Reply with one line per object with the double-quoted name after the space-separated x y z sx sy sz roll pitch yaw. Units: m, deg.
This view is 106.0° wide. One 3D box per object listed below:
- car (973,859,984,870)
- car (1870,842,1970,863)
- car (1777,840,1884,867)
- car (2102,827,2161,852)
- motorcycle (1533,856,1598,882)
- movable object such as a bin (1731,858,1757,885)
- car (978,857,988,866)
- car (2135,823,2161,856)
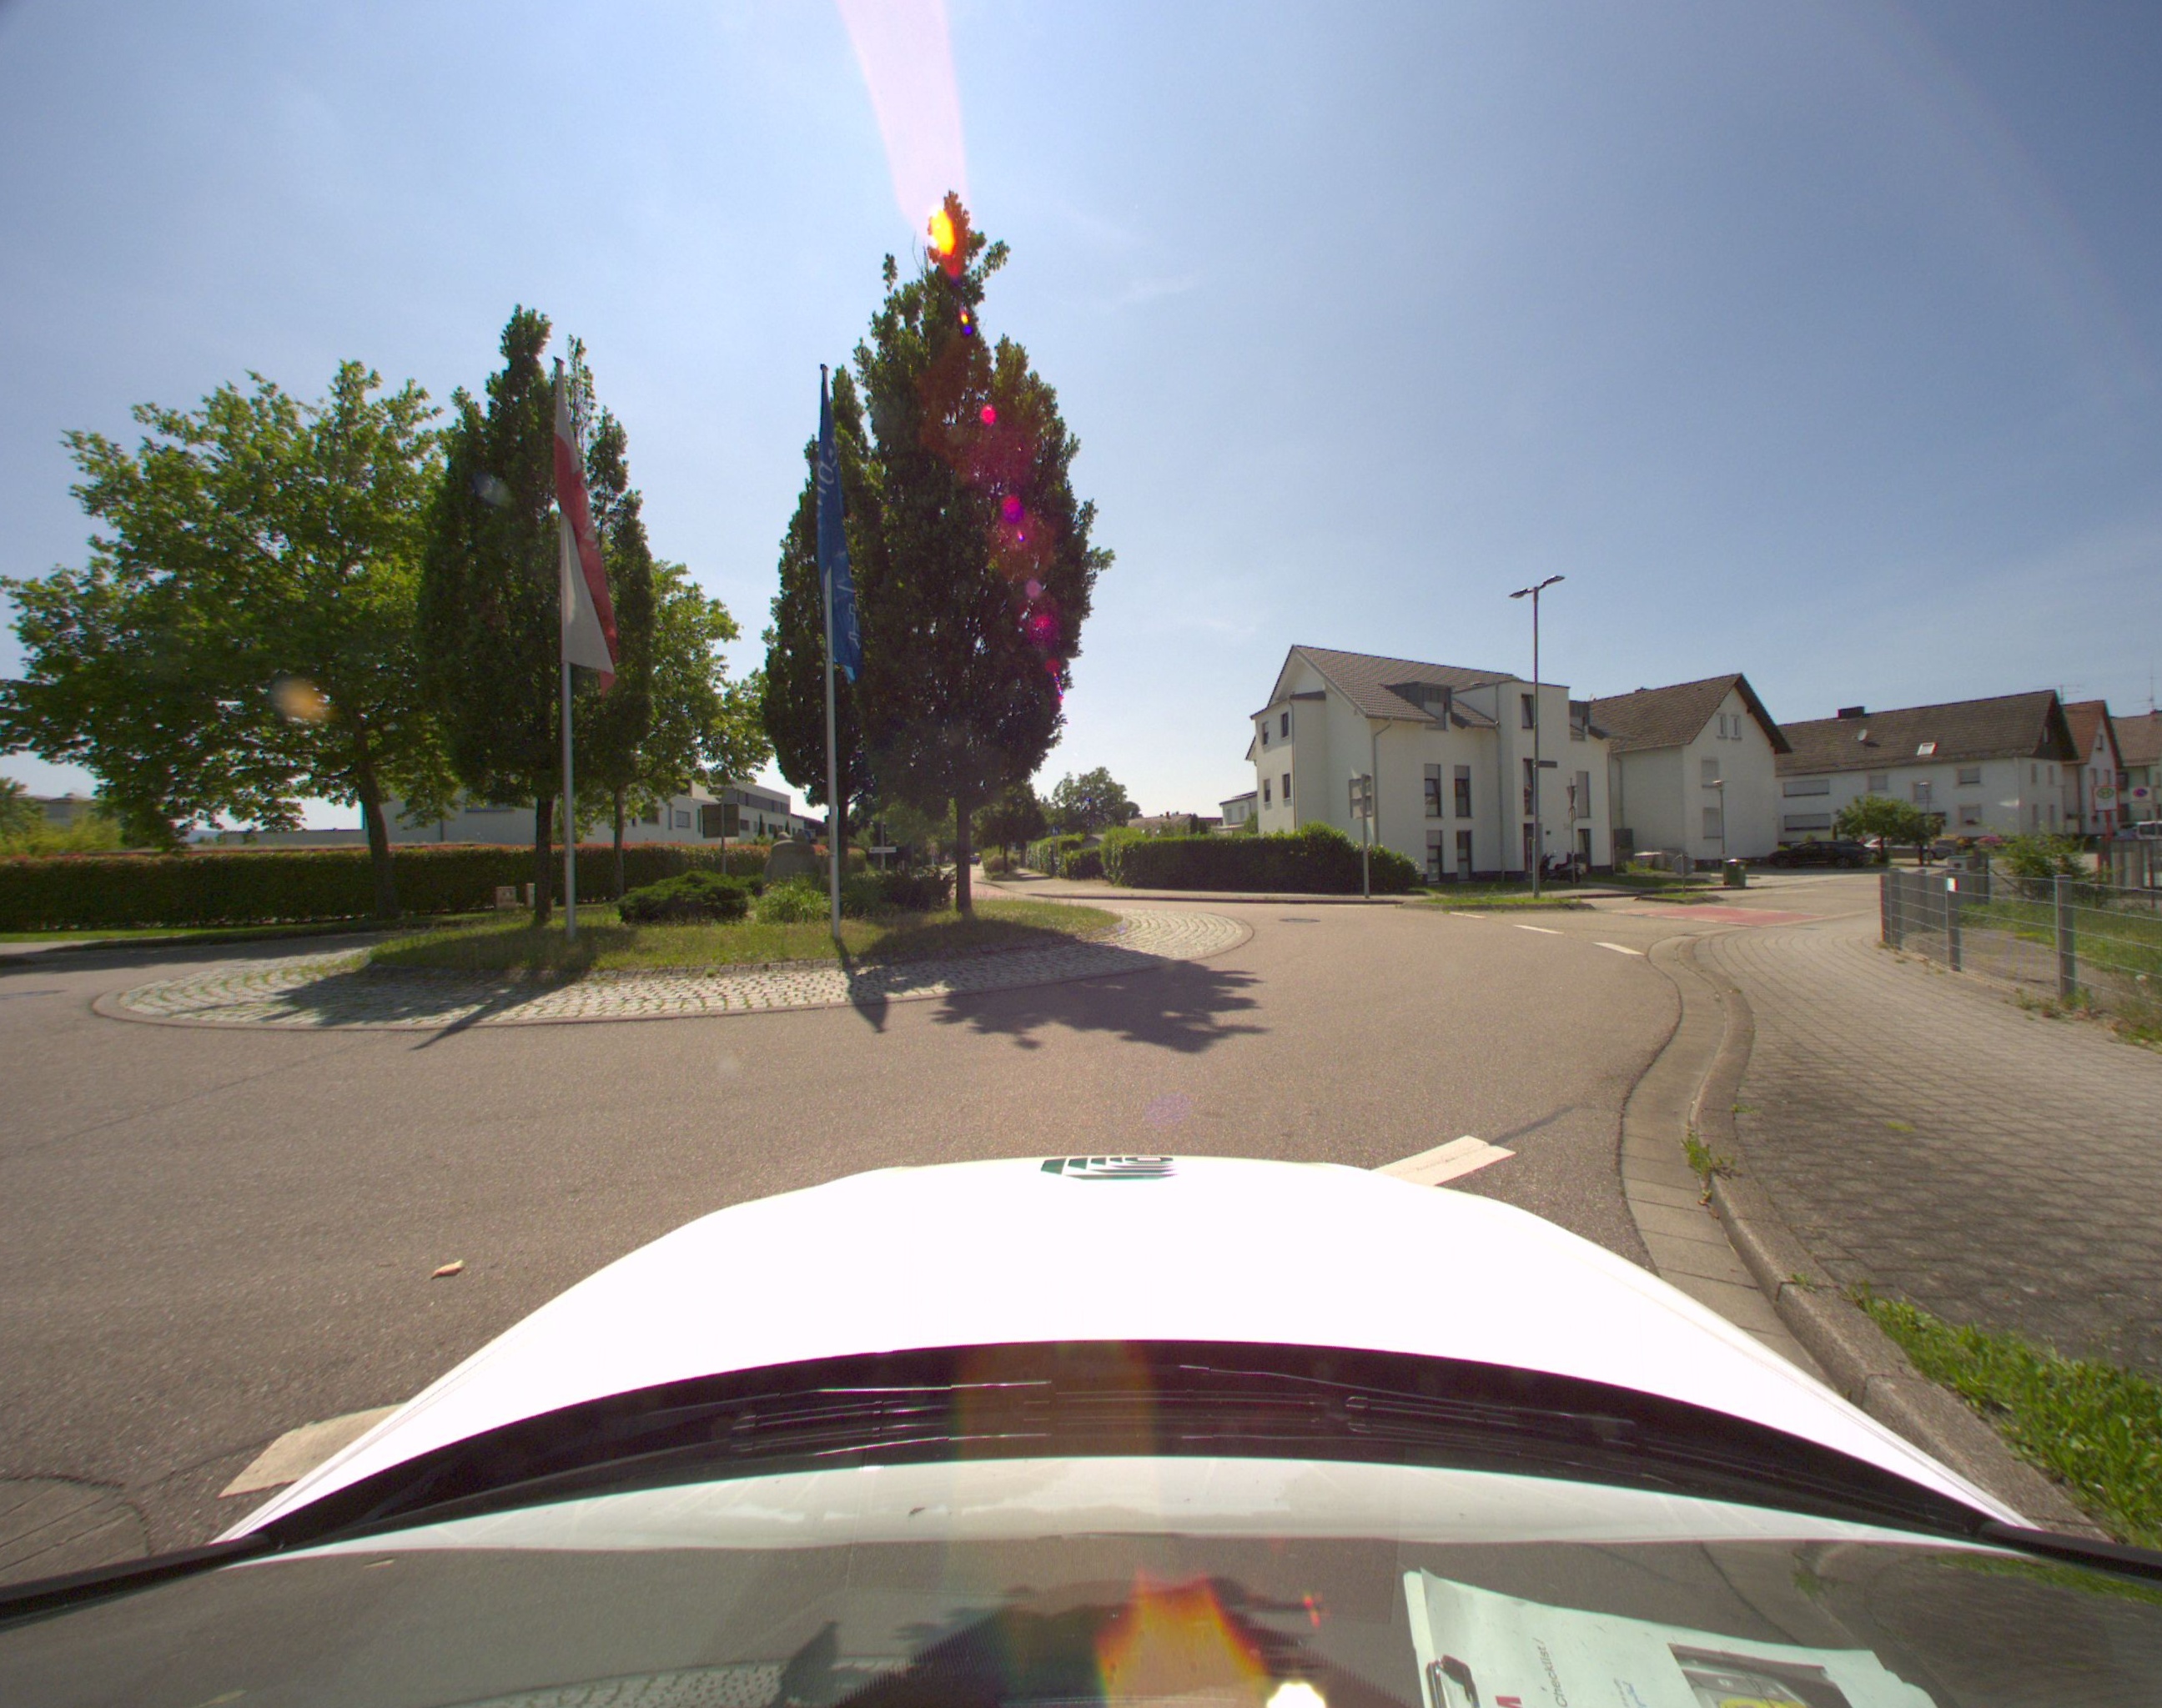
-17.958 1.866 142.507 1.921 1.886 3.990 0 -1 -7 "car"
51.744 -0.090 50.304 1.846 1.190 3.962 -1 0 -30 "car"
40.379 -0.012 43.962 1.665 1.383 3.962 -1 0 -30 "car"
69.059 -0.968 53.324 4.009 1.553 1.982 -1 0 -27 "car"
19.735 0.602 33.248 0.672 1.013 2.350 1 -1 -24 "motorcycle"
26.557 0.694 32.637 0.459 1.083 0.643 -1 0 -20 "movable object such as a bin"
-20.382 1.572 169.698 1.991 1.770 3.991 0 -1 -6 "car"
61.275 -0.808 45.766 4.009 1.787 1.841 0 -1 -28 "car"
